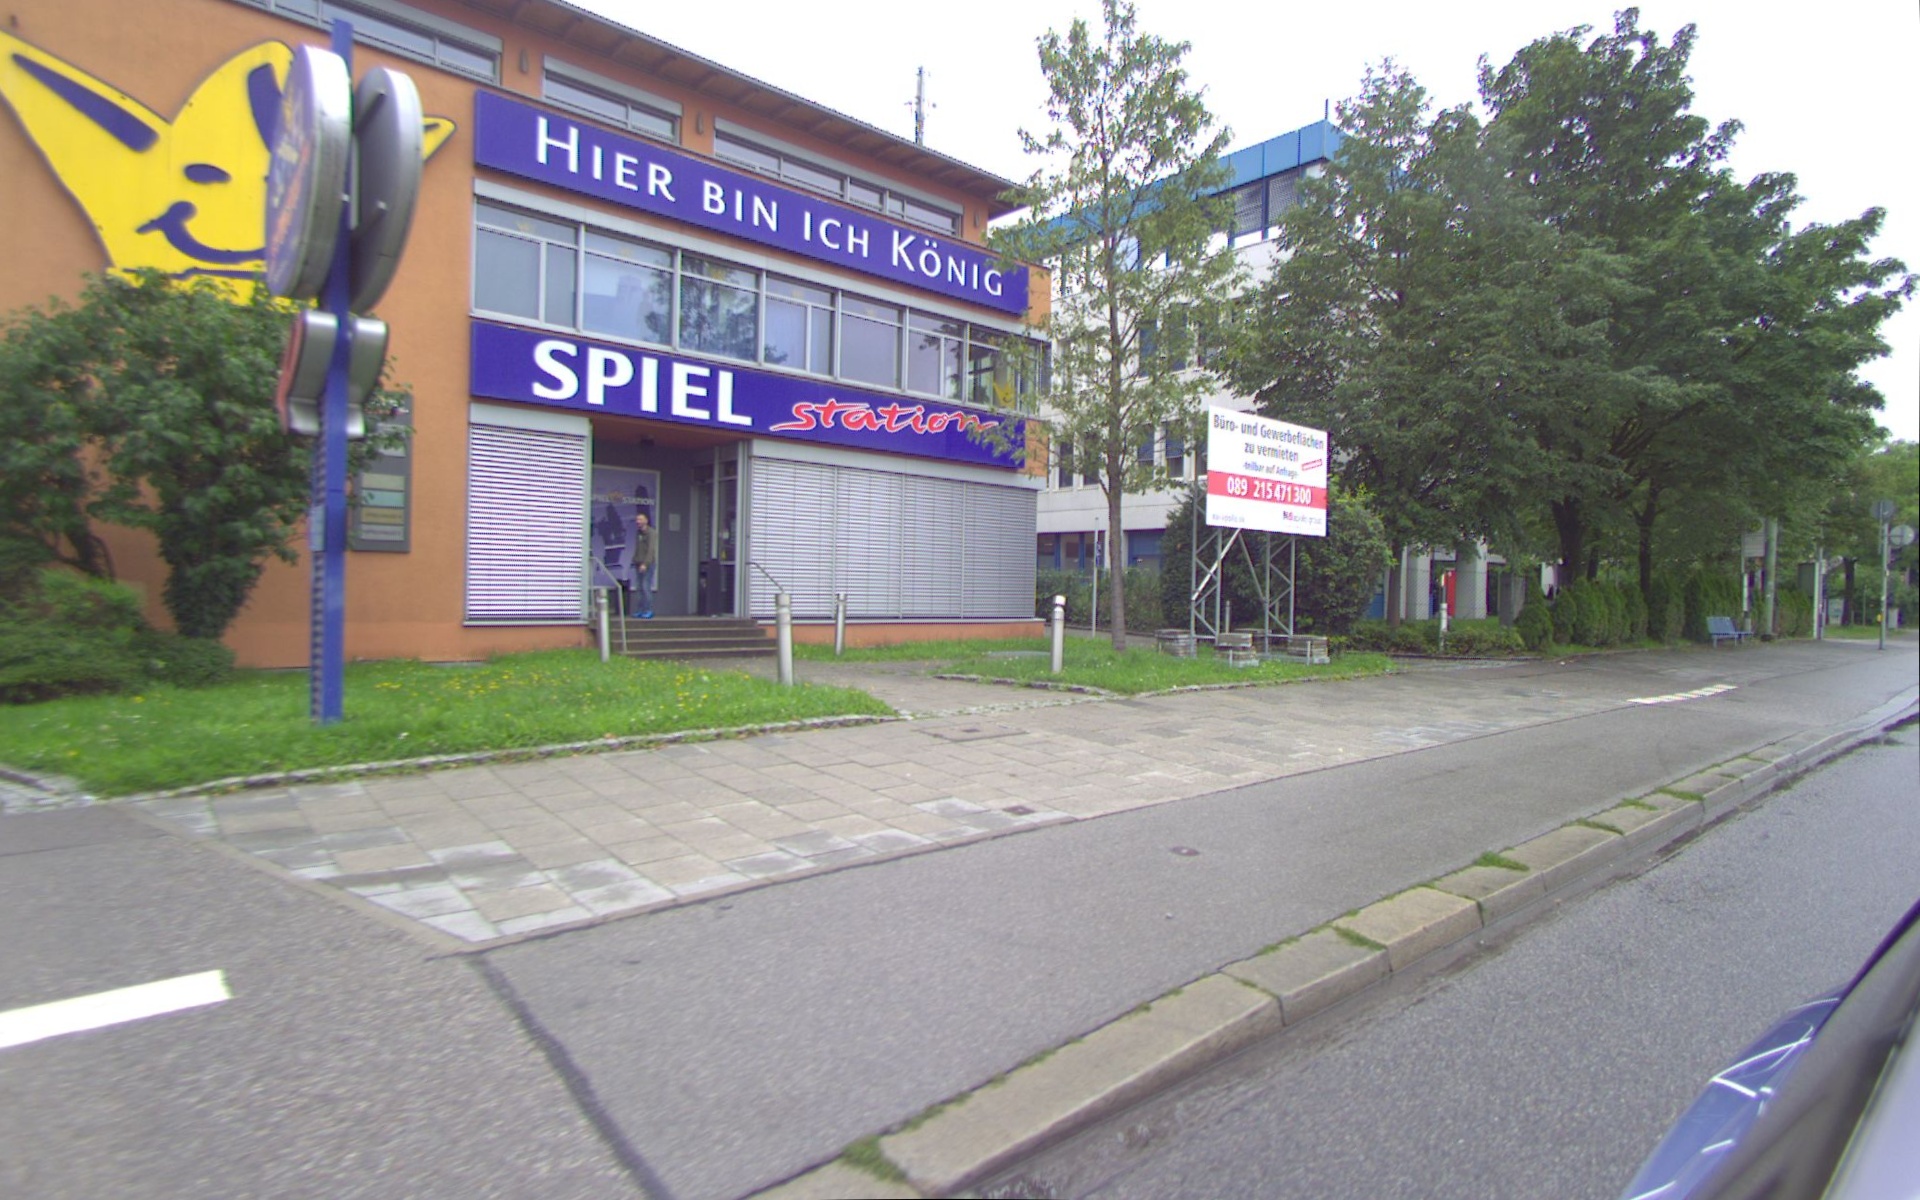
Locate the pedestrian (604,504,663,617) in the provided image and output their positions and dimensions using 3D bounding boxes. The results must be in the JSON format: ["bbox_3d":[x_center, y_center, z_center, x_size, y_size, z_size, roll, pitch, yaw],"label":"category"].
[{"bbox_3d":[-5.151,-0.620,15.972,0.648,1.733,0.662,1,2,-40],"label":"pedestrian"}]

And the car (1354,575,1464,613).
[{"bbox_3d":[19.344,-0.295,43.788,1.830,1.436,4.186,1,2,-24],"label":"car"}]
